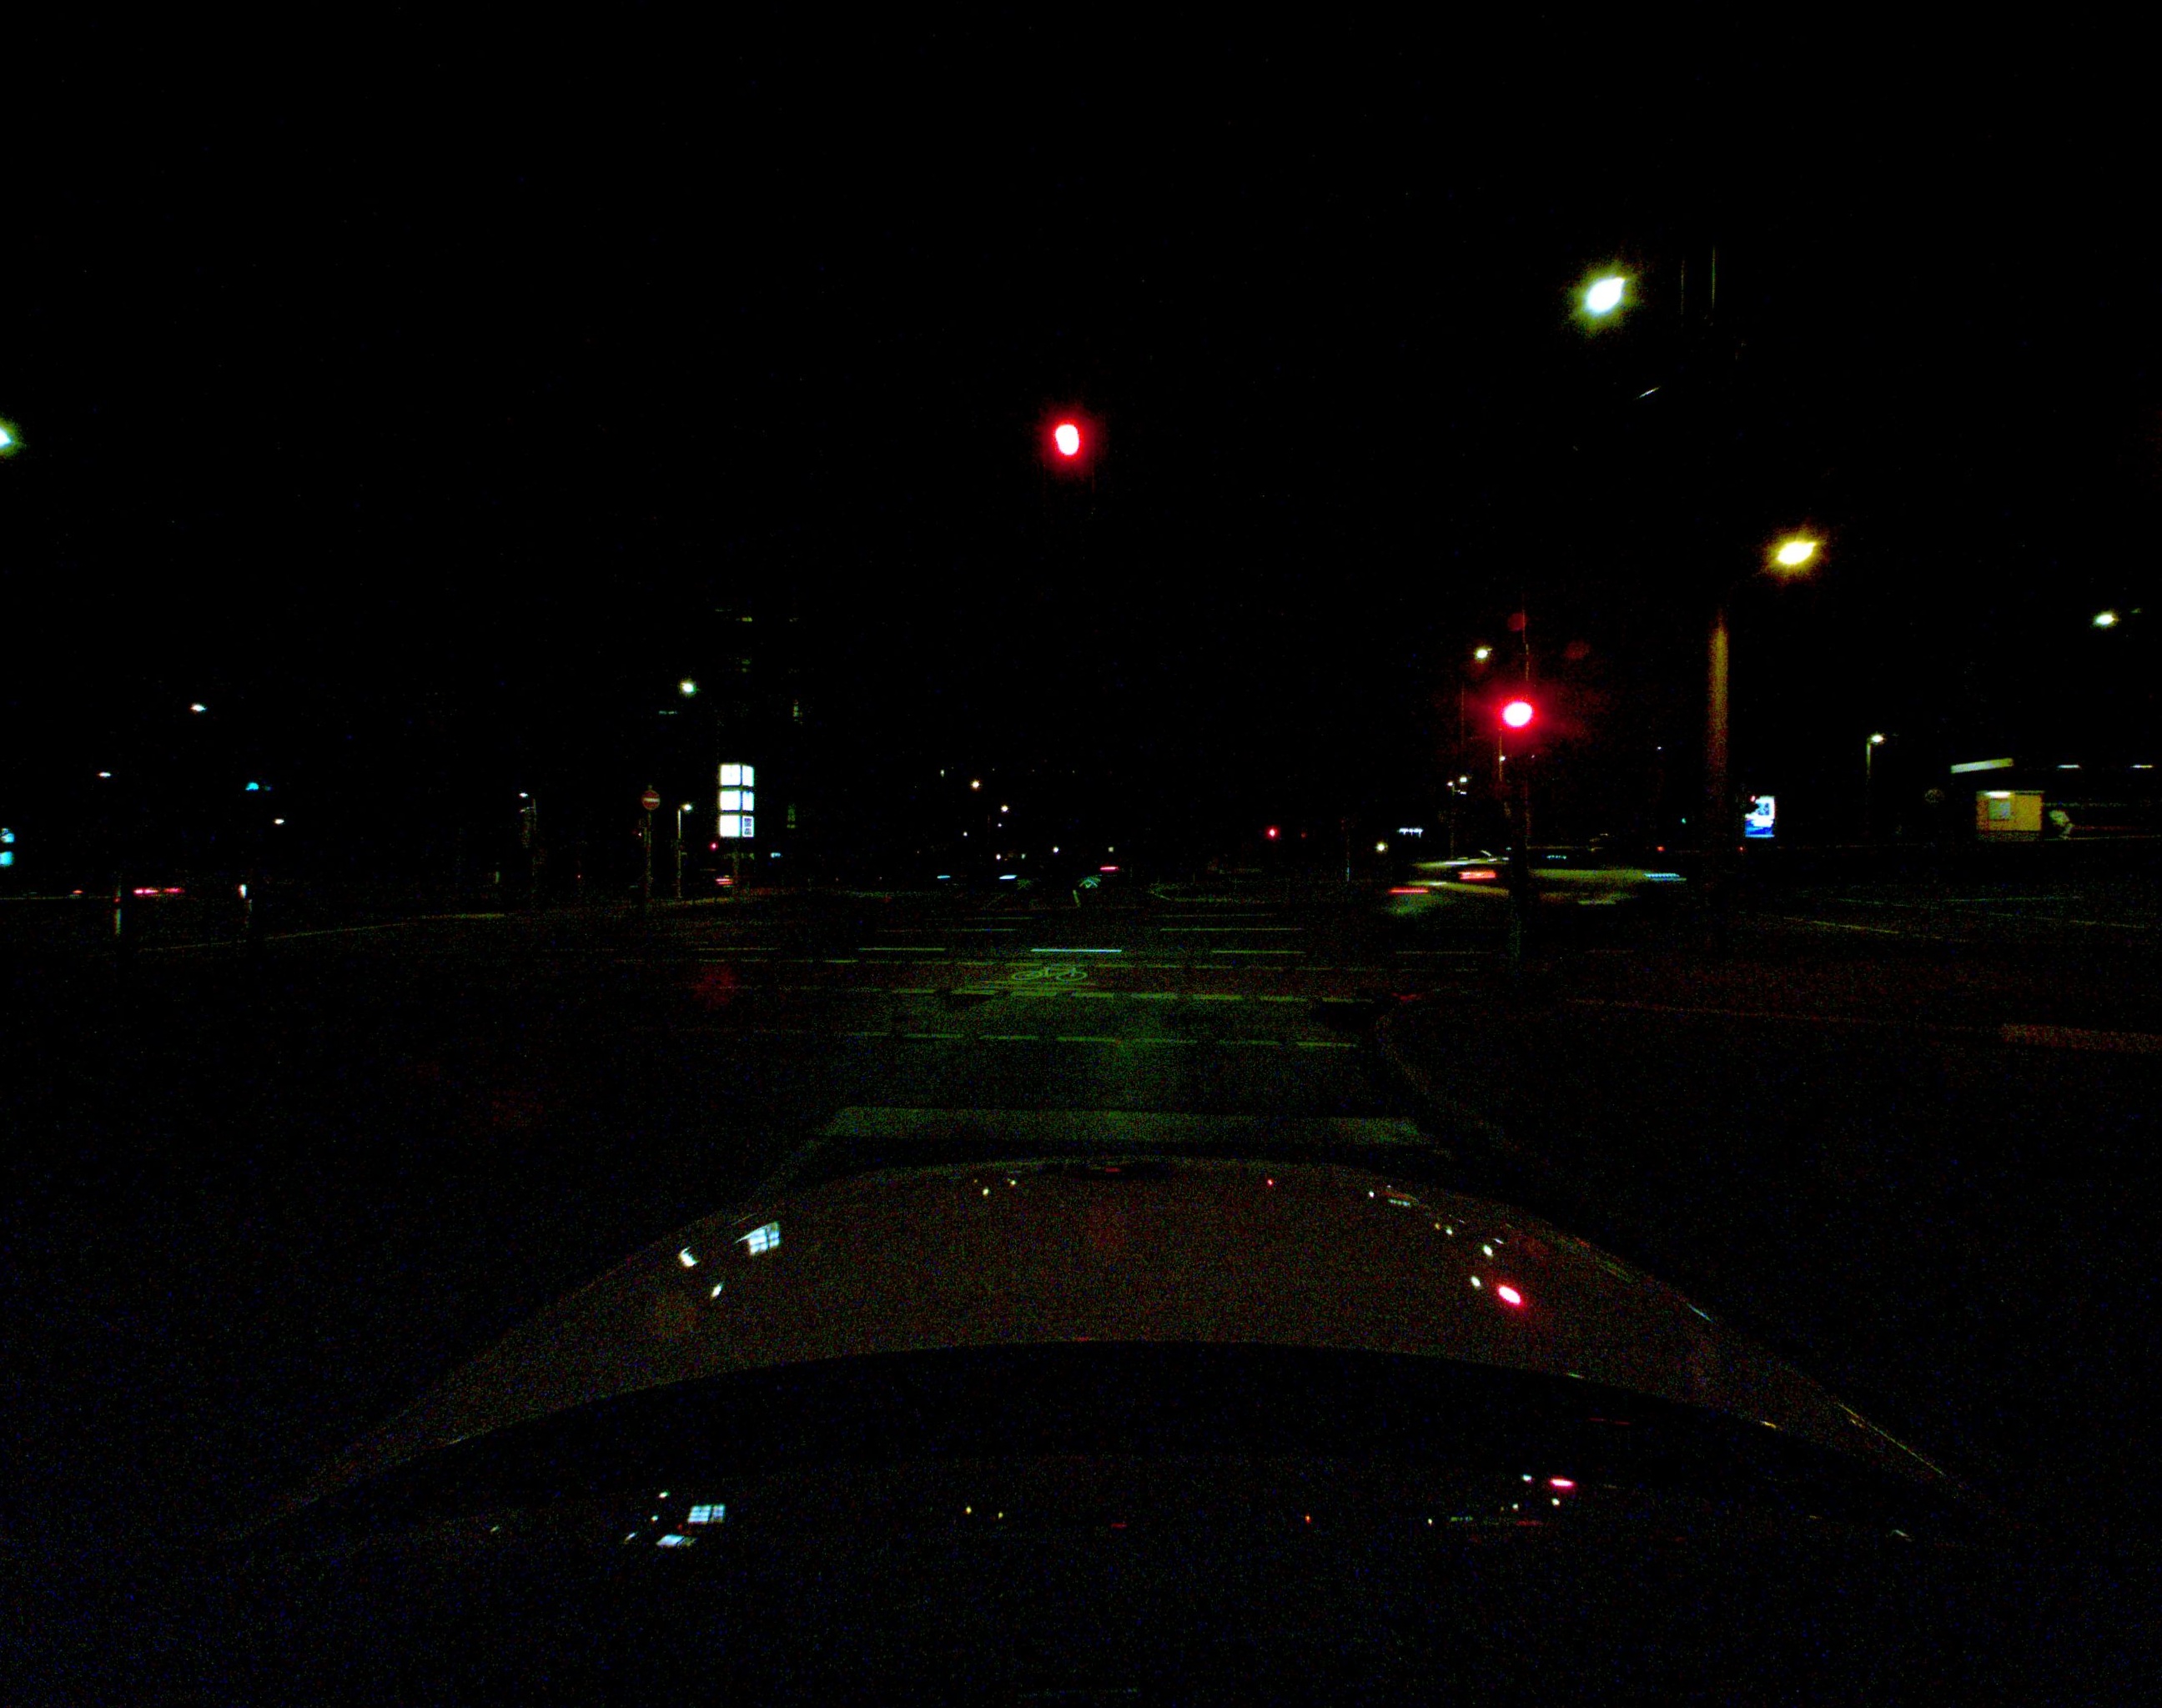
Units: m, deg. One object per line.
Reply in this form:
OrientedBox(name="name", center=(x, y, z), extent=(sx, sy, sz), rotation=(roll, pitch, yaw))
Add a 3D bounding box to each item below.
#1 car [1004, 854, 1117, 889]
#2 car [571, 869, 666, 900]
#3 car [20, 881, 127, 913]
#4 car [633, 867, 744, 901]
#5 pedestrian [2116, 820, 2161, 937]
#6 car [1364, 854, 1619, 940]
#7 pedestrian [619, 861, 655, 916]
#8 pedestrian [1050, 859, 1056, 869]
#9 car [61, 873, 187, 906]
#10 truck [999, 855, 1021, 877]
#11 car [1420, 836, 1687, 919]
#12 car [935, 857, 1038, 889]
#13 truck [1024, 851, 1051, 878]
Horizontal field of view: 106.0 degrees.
OrientedBox(name="car", center=(-0.897, 0.792, 37.527), extent=(4.917, 1.420, 1.854), rotation=(-2, -1, 5))
OrientedBox(name="car", center=(-23.621, 1.545, 41.676), extent=(3.852, 1.405, 1.771), rotation=(-2, -1, 5))
OrientedBox(name="car", center=(-57.422, 2.439, 46.444), extent=(4.212, 1.585, 1.806), rotation=(-3, -2, 6))
OrientedBox(name="car", center=(-18.748, 1.406, 38.983), extent=(4.406, 1.420, 1.854), rotation=(-2, -1, 5))
OrientedBox(name="pedestrian", center=(15.774, 0.319, 11.673), extent=(0.870, 1.656, 0.843), rotation=(-7, -5, 42))
OrientedBox(name="car", center=(7.522, 0.768, 15.247), extent=(3.883, 1.437, 1.747), rotation=(-1, 0, 5))
OrientedBox(name="pedestrian", center=(-13.993, 1.074, 25.653), extent=(0.671, 1.722, 0.710), rotation=(-1, -2, 26))
OrientedBox(name="pedestrian", center=(-5.040, 1.812, 147.944), extent=(0.851, 1.912, 1.001), rotation=(0, -1, -16))
OrientedBox(name="car", center=(-49.667, 1.843, 42.319), extent=(4.551, 1.585, 1.848), rotation=(0, 1, 3))
OrientedBox(name="truck", center=(-10.525, 1.779, 120.361), extent=(2.419, 3.089, 6.412), rotation=(0, -1, -11))
OrientedBox(name="car", center=(10.469, 0.509, 18.348), extent=(4.897, 1.598, 1.747), rotation=(-2, 0, 5))
OrientedBox(name="car", center=(-4.734, 0.961, 41.038), extent=(4.795, 1.420, 1.854), rotation=(-2, -1, 5))
OrientedBox(name="truck", center=(-8.000, 1.936, 149.249), extent=(3.366, 4.843, 7.865), rotation=(0, -1, -14))
